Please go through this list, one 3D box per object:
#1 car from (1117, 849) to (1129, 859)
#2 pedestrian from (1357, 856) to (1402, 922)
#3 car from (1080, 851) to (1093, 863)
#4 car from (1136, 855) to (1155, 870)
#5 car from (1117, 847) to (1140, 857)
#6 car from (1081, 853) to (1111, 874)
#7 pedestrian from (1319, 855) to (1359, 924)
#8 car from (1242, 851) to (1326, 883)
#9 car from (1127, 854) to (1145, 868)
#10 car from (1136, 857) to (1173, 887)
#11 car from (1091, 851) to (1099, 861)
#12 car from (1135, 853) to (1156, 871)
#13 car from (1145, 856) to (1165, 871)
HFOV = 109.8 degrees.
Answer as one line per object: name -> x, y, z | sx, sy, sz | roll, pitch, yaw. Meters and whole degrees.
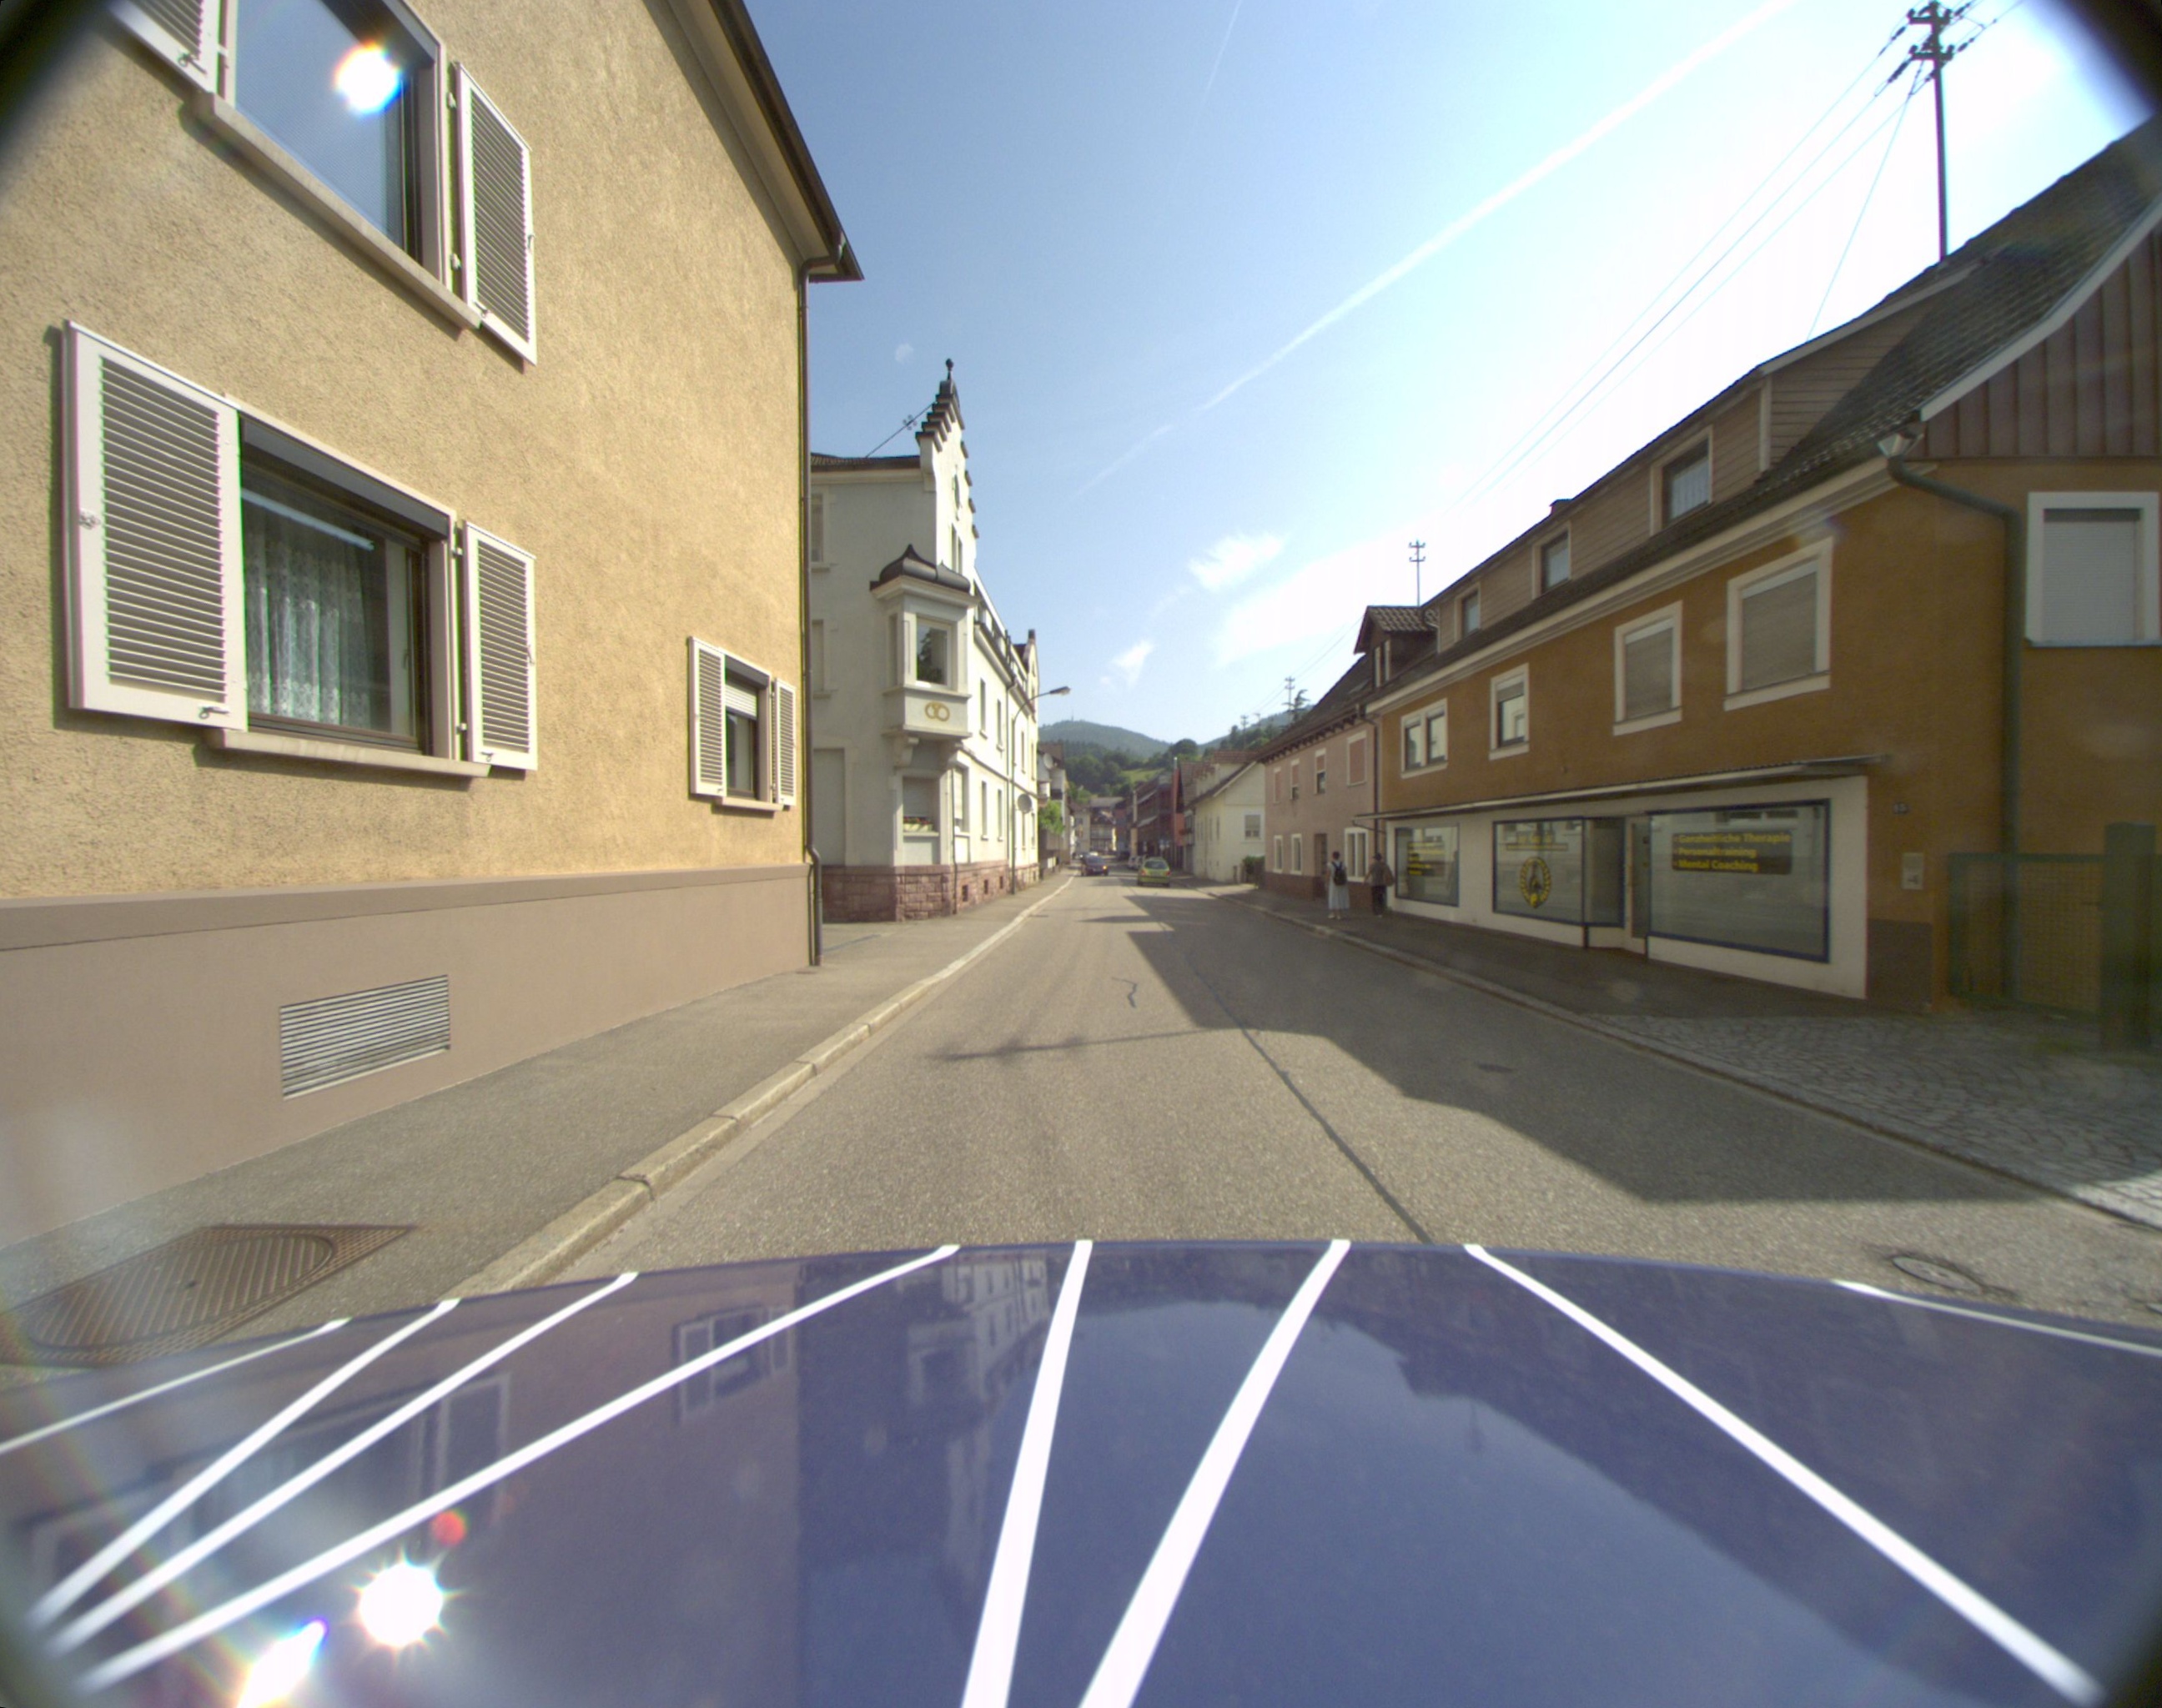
car -> 7.243, -0.048, 132.479 | 1.787, 1.566, 3.888 | -3, 1, 0
pedestrian -> 7.269, 0.830, 18.544 | 0.736, 1.555, 0.824 | -2, 1, 2
car -> 1.007, 0.513, 140.543 | 1.999, 2.002, 3.997 | -2, 1, -5
car -> 7.050, 0.882, 83.930 | 1.679, 1.580, 3.948 | -1, 0, -1
car -> 8.792, -0.364, 141.089 | 4.000, 1.673, 1.834 | 0, -1, -8
car -> 1.207, 0.800, 62.391 | 1.824, 1.652, 3.998 | 0, -1, -8
pedestrian -> 6.228, 0.838, 18.366 | 0.641, 1.617, 0.777 | -3, 1, 2
car -> 10.923, 0.660, 41.077 | 3.997, 1.584, 1.907 | -2, 0, -2
car -> 6.546, 0.788, 90.663 | 1.678, 1.546, 3.764 | -1, 0, -1
car -> 3.953, 0.960, 41.276 | 1.600, 1.456, 3.660 | 3, 0, 1
car -> 3.126, 0.451, 170.530 | 1.742, 2.002, 3.840 | -1, 0, 1
car -> 6.643, 0.827, 78.371 | 1.724, 1.786, 4.268 | 0, 0, -2
car -> 7.086, 0.909, 73.112 | 1.670, 1.423, 3.569 | -2, 0, 1
